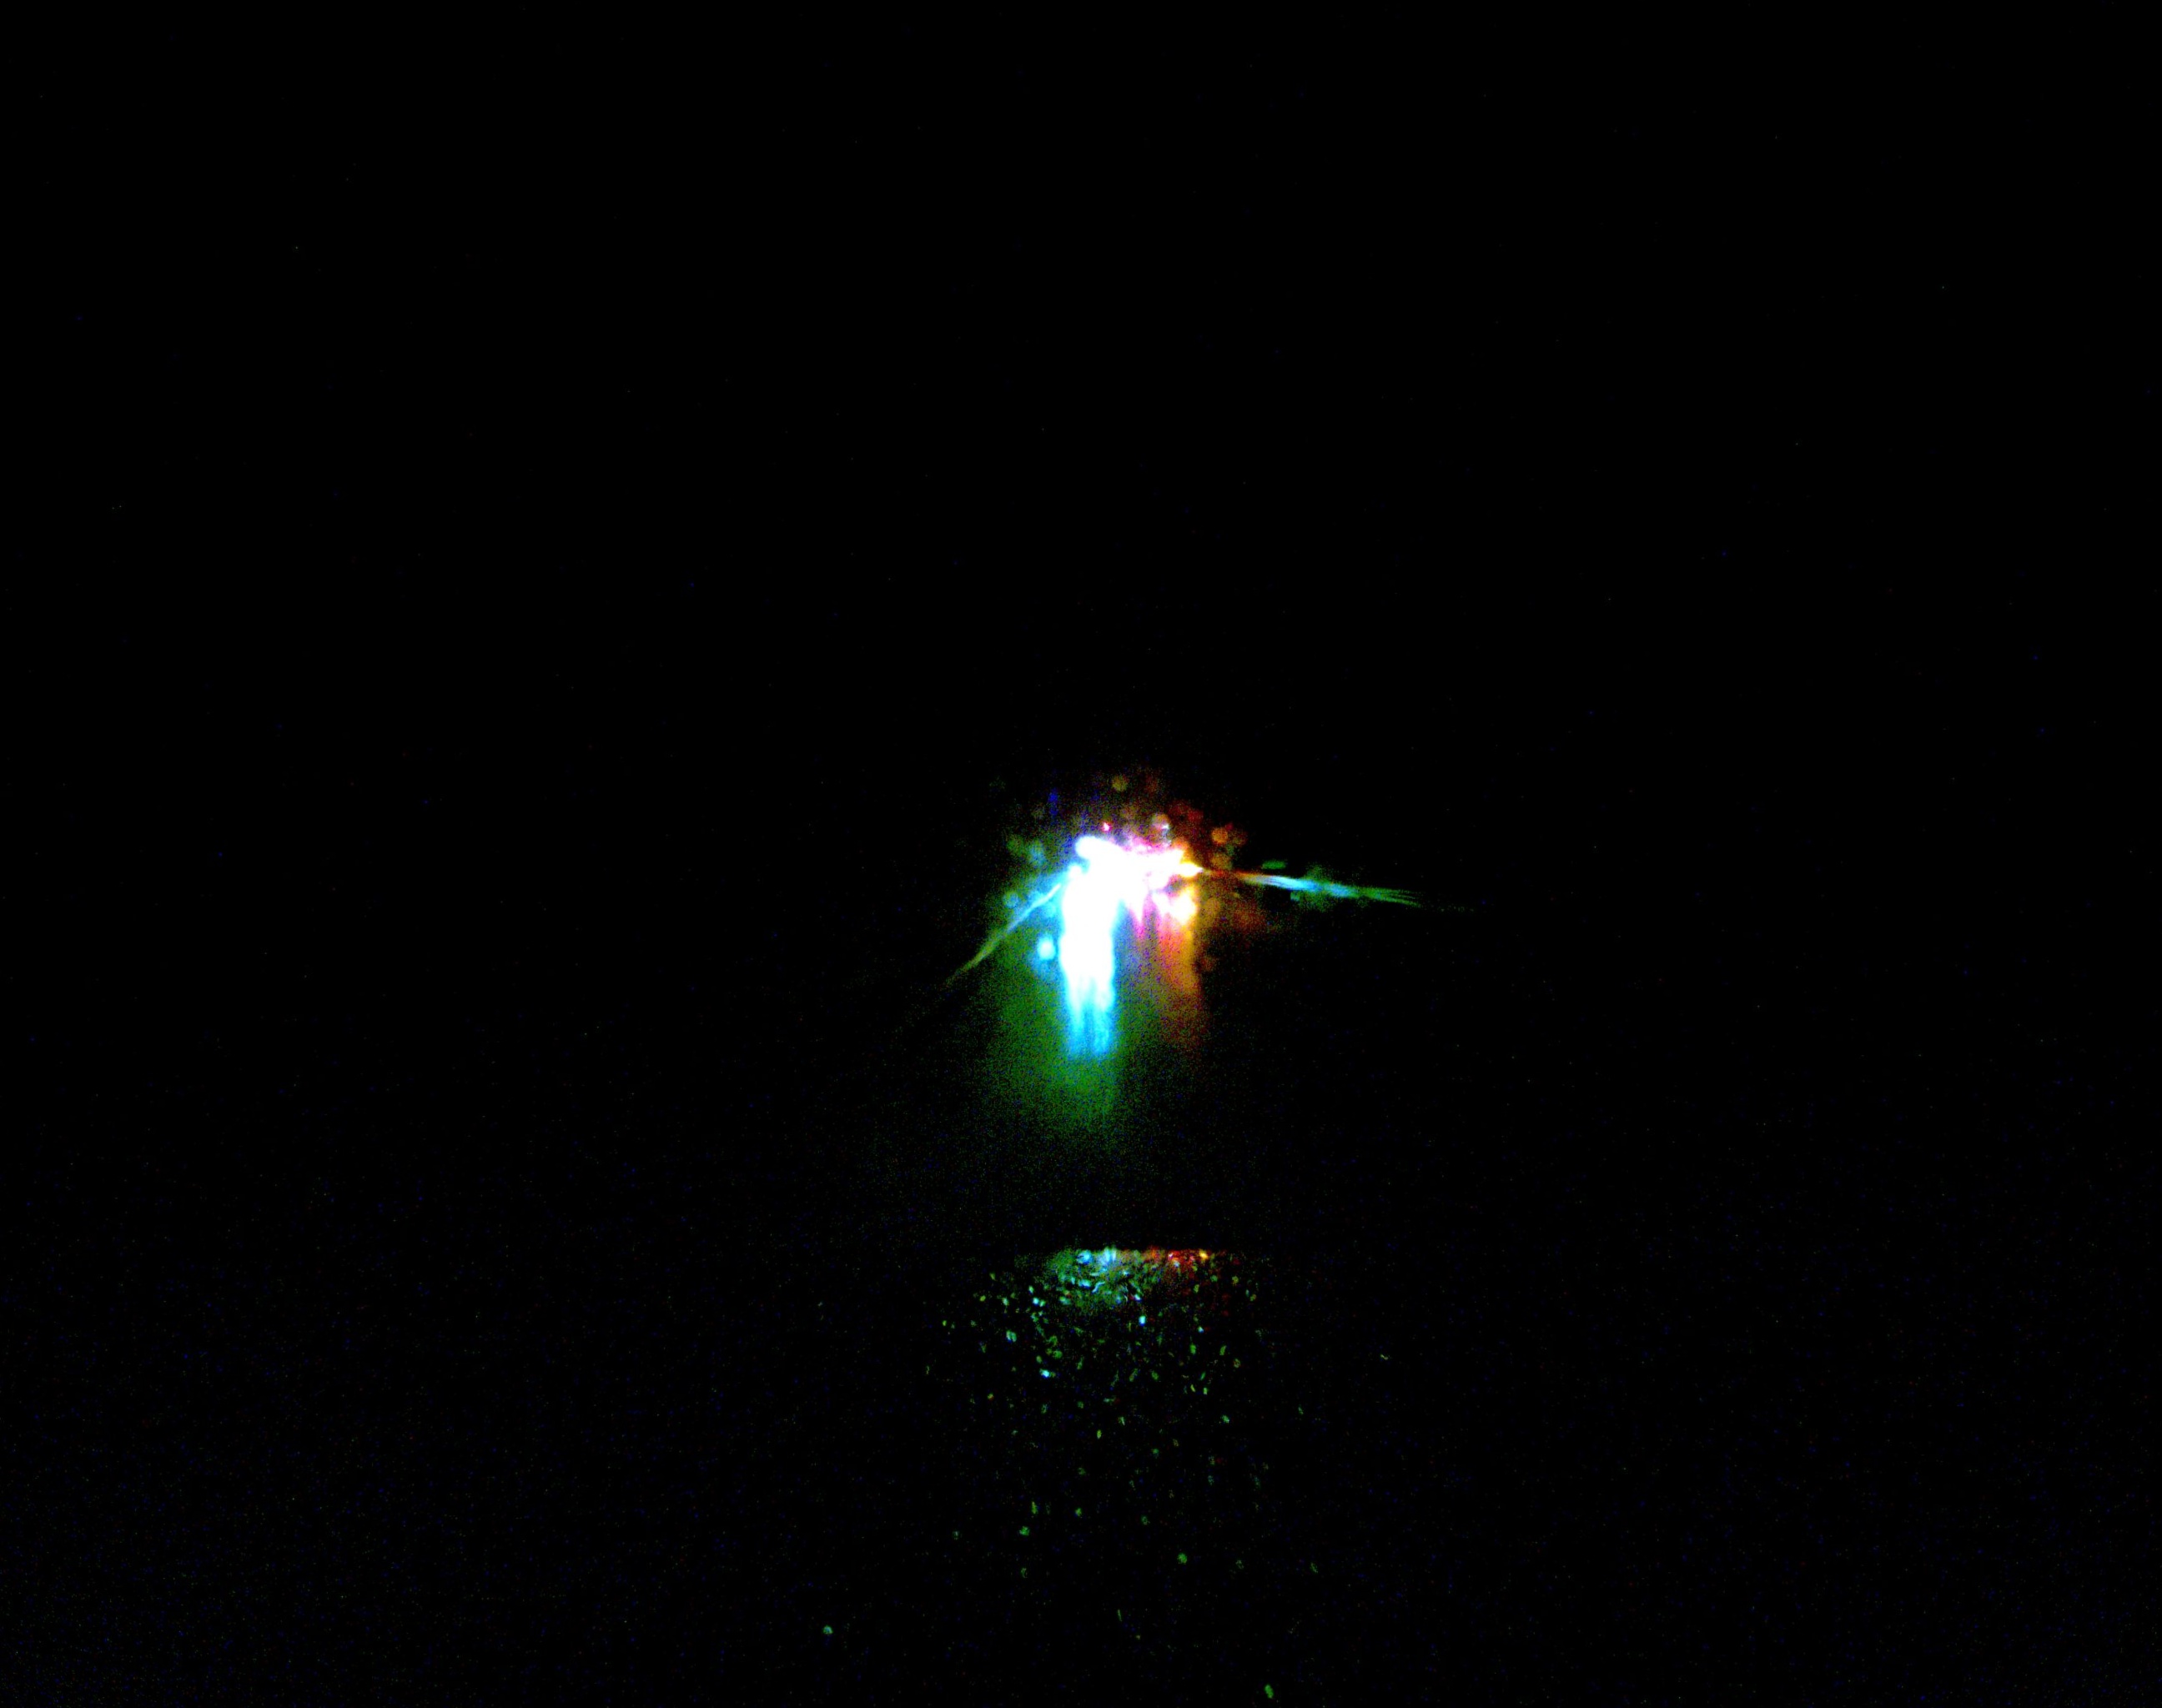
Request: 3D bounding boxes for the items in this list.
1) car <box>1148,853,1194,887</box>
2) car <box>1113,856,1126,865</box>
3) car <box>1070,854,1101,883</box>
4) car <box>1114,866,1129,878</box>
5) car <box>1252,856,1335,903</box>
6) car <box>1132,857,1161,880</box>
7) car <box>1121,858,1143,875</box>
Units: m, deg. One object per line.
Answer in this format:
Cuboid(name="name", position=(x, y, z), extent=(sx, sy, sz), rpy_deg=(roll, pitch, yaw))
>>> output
Cuboid(name="car", position=(4.640, 0.795, 39.749), extent=(1.951, 1.629, 4.821), rpy_deg=(0, 0, 1))
Cuboid(name="car", position=(5.912, 0.972, 117.432), extent=(1.790, 1.379, 3.776), rpy_deg=(-1, 0, 1))
Cuboid(name="car", position=(0.347, 0.948, 50.924), extent=(1.998, 1.804, 4.000), rpy_deg=(-1, 0, 1))
Cuboid(name="car", position=(5.381, 2.389, 101.597), extent=(1.790, 1.379, 3.776), rpy_deg=(-1, 0, 1))
Cuboid(name="car", position=(7.708, 0.885, 27.966), extent=(1.835, 1.545, 4.441), rpy_deg=(-1, 0, 0))
Cuboid(name="car", position=(4.764, 1.035, 55.589), extent=(1.790, 1.623, 4.426), rpy_deg=(-1, 0, 1))
Cuboid(name="car", position=(4.645, 1.079, 69.115), extent=(1.790, 1.459, 3.776), rpy_deg=(-1, 0, 1))
